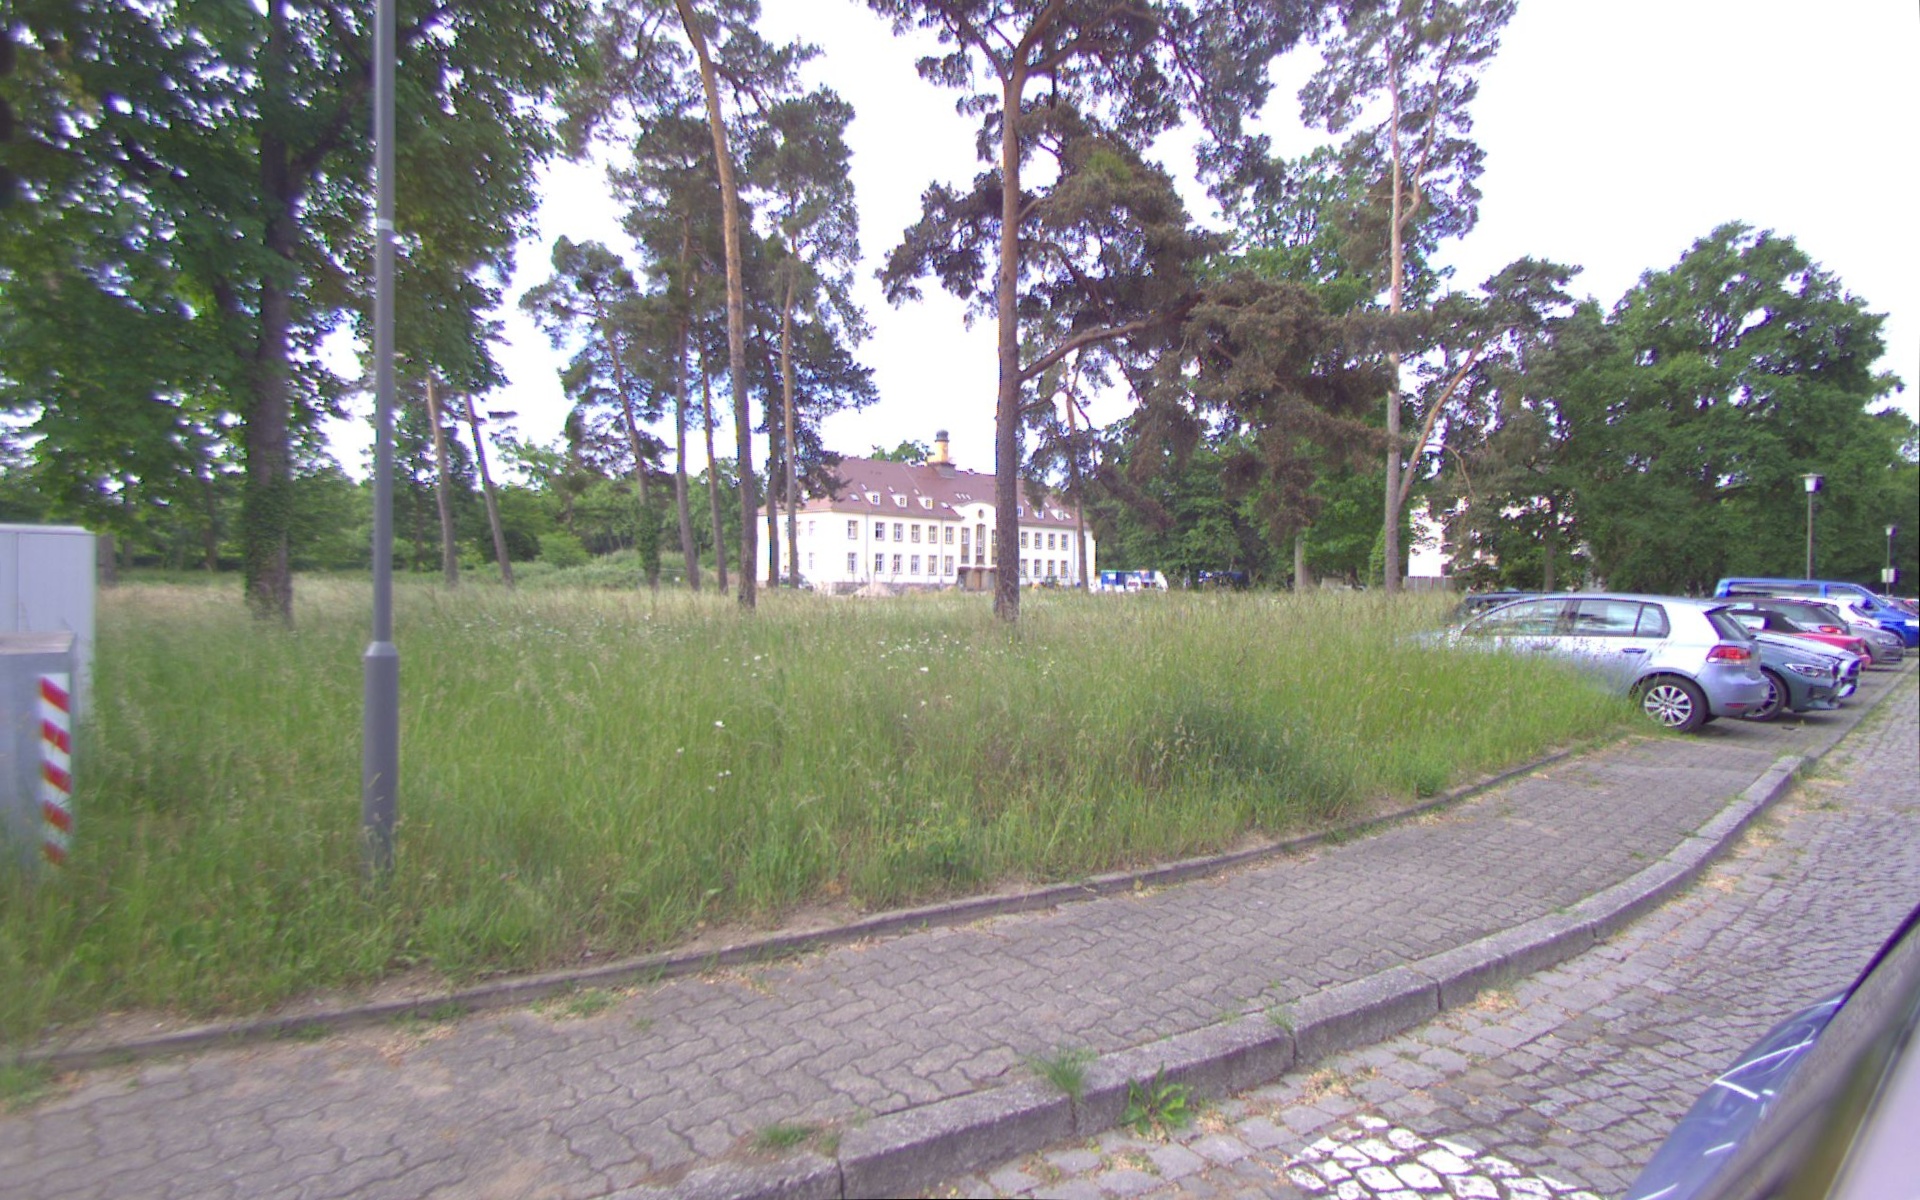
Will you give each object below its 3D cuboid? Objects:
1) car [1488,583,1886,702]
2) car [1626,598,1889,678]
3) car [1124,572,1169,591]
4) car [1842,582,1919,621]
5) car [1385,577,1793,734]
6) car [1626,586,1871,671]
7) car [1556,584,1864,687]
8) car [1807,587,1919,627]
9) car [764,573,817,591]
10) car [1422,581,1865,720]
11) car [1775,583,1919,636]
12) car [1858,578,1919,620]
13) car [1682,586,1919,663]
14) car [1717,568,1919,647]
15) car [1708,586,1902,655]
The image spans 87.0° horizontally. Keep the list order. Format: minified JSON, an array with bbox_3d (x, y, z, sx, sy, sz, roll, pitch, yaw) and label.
[{"bbox_3d":[11.068,0.524,15.717,1.782,1.501,4.763,0,2,-43],"label":"car"},{"bbox_3d":[14.537,0.627,18.589,1.469,1.222,3.596,0,1,-42],"label":"car"},{"bbox_3d":[20.945,-2.098,113.569,5.133,2.039,2.152,-1,2,-41],"label":"car"},{"bbox_3d":[44.977,0.062,48.409,1.966,1.784,4.004,0,2,-42],"label":"car"},{"bbox_3d":[7.227,0.519,11.893,1.579,1.444,3.768,0,2,-43],"label":"car"},{"bbox_3d":[16.096,0.502,20.760,1.770,1.524,3.779,0,2,-45],"label":"car"},{"bbox_3d":[12.662,0.505,17.270,1.770,1.470,3.967,0,2,-43],"label":"car"},{"bbox_3d":[37.558,0.269,41.589,1.966,1.549,3.991,0,0,-43],"label":"car"},{"bbox_3d":[-18.889,-1.983,112.713,6.164,1.882,2.307,2,2,38],"label":"car"},{"bbox_3d":[9.042,0.536,13.721,4.758,1.501,1.734,2,2,44],"label":"car"},{"bbox_3d":[30.395,0.274,34.373,1.966,1.630,3.992,0,2,-43],"label":"car"},{"bbox_3d":[48.259,-0.064,51.229,1.966,2.039,3.993,0,2,-42],"label":"car"},{"bbox_3d":[18.501,0.468,22.342,1.788,1.474,3.847,0,2,-41],"label":"car"},{"bbox_3d":[24.199,0.157,28.128,1.967,1.963,4.743,0,3,-43],"label":"car"},{"bbox_3d":[20.345,0.440,24.437,1.609,1.470,3.405,0,2,-42],"label":"car"}]
